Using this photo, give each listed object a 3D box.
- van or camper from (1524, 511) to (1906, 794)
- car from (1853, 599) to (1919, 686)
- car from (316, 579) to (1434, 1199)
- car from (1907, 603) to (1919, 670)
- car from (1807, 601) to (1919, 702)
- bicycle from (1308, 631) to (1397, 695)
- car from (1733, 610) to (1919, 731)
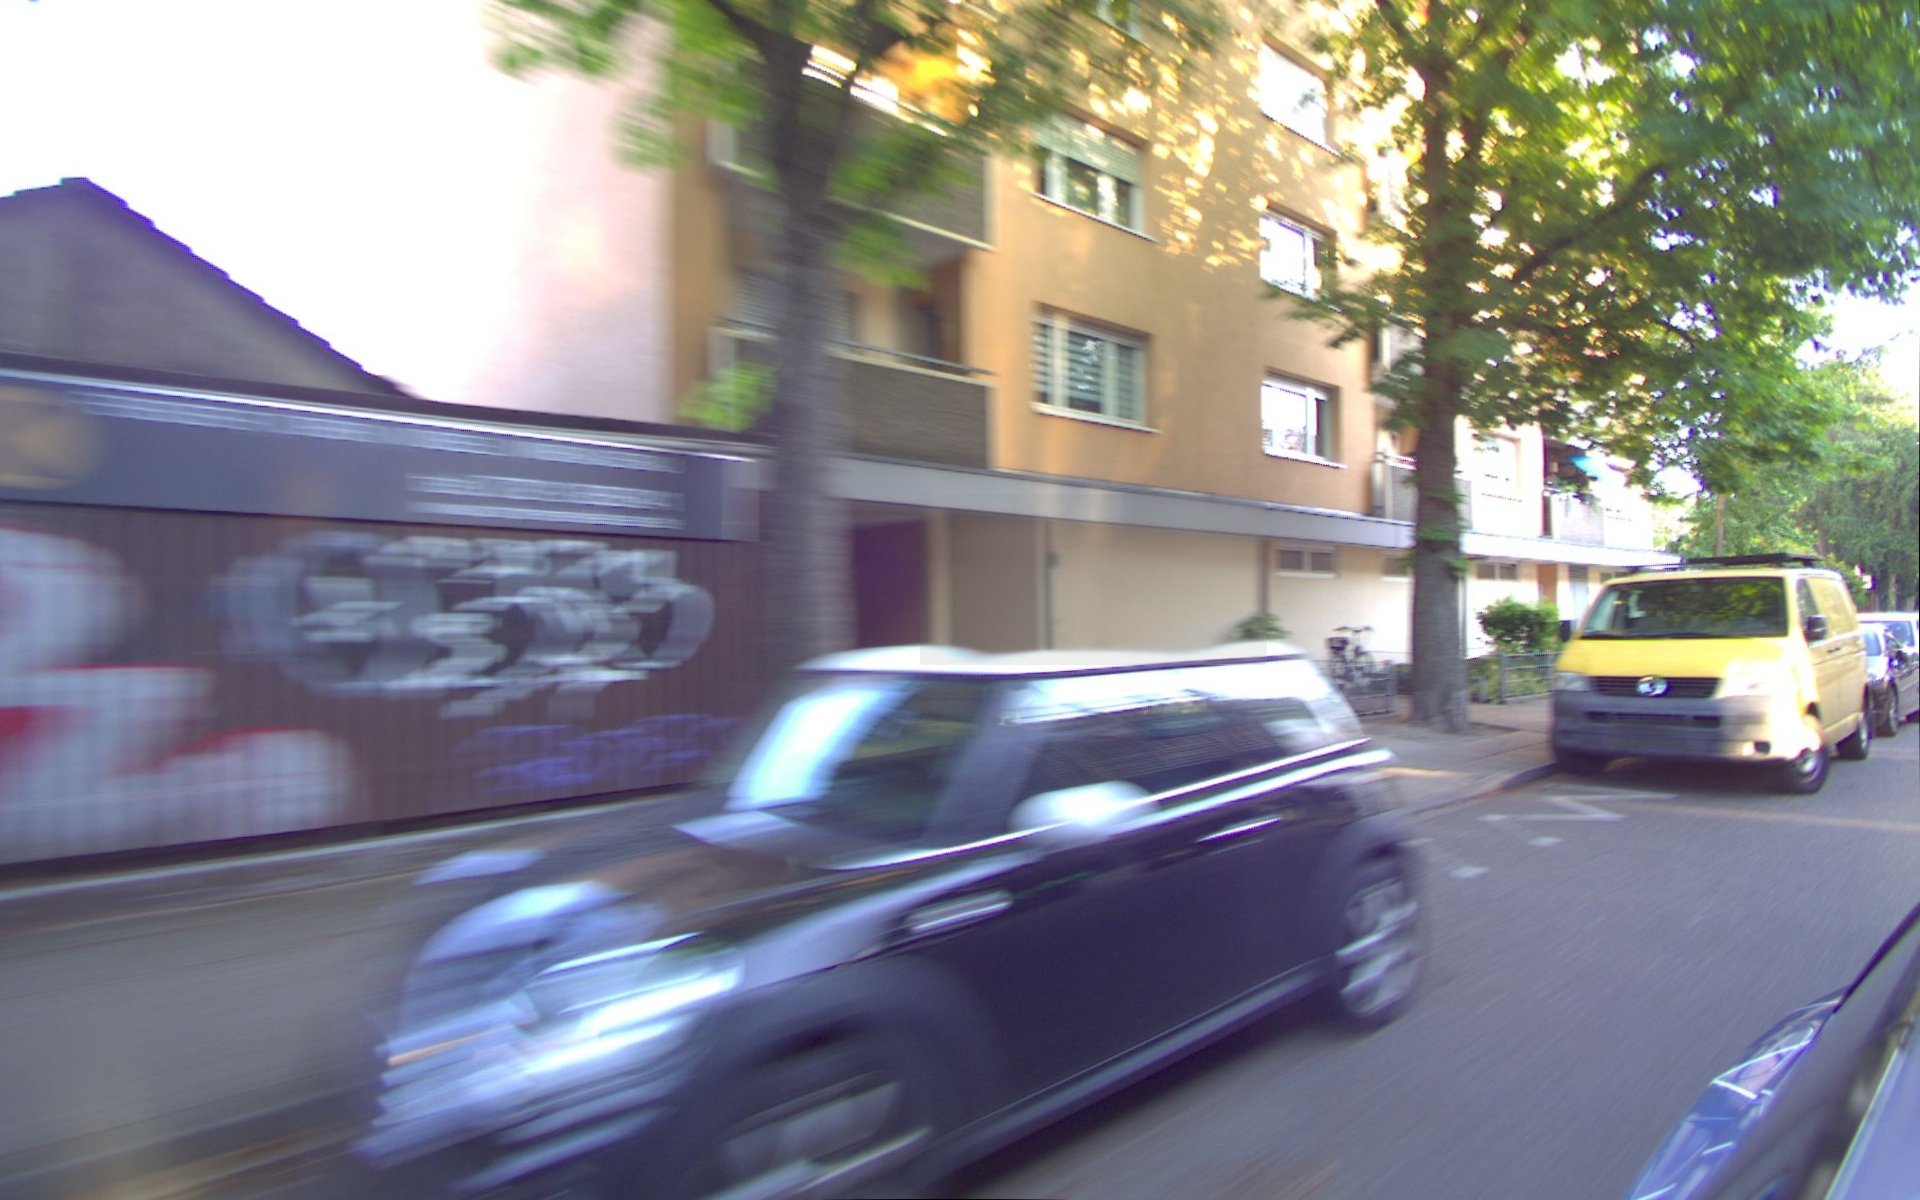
[{"bbox_3d":[7.669,0.449,10.060,5.002,2.123,2.067,1,-2,-42],"label":"van or camper"},{"bbox_3d":[19.139,0.799,19.922,4.119,1.583,1.794,1,-1,-41],"label":"car"},{"bbox_3d":[0.009,0.739,3.330,3.392,1.469,1.565,1,-2,-41],"label":"car"},{"bbox_3d":[23.044,0.822,23.127,3.982,1.480,1.612,1,-1,-41],"label":"car"},{"bbox_3d":[15.600,0.808,16.961,3.416,1.530,1.612,1,-1,-41],"label":"car"},{"bbox_3d":[6.122,0.959,15.744,1.802,0.933,0.524,1,-2,-41],"label":"bicycle"},{"bbox_3d":[11.940,0.861,13.575,3.927,1.399,1.610,1,-2,-39],"label":"car"}]
